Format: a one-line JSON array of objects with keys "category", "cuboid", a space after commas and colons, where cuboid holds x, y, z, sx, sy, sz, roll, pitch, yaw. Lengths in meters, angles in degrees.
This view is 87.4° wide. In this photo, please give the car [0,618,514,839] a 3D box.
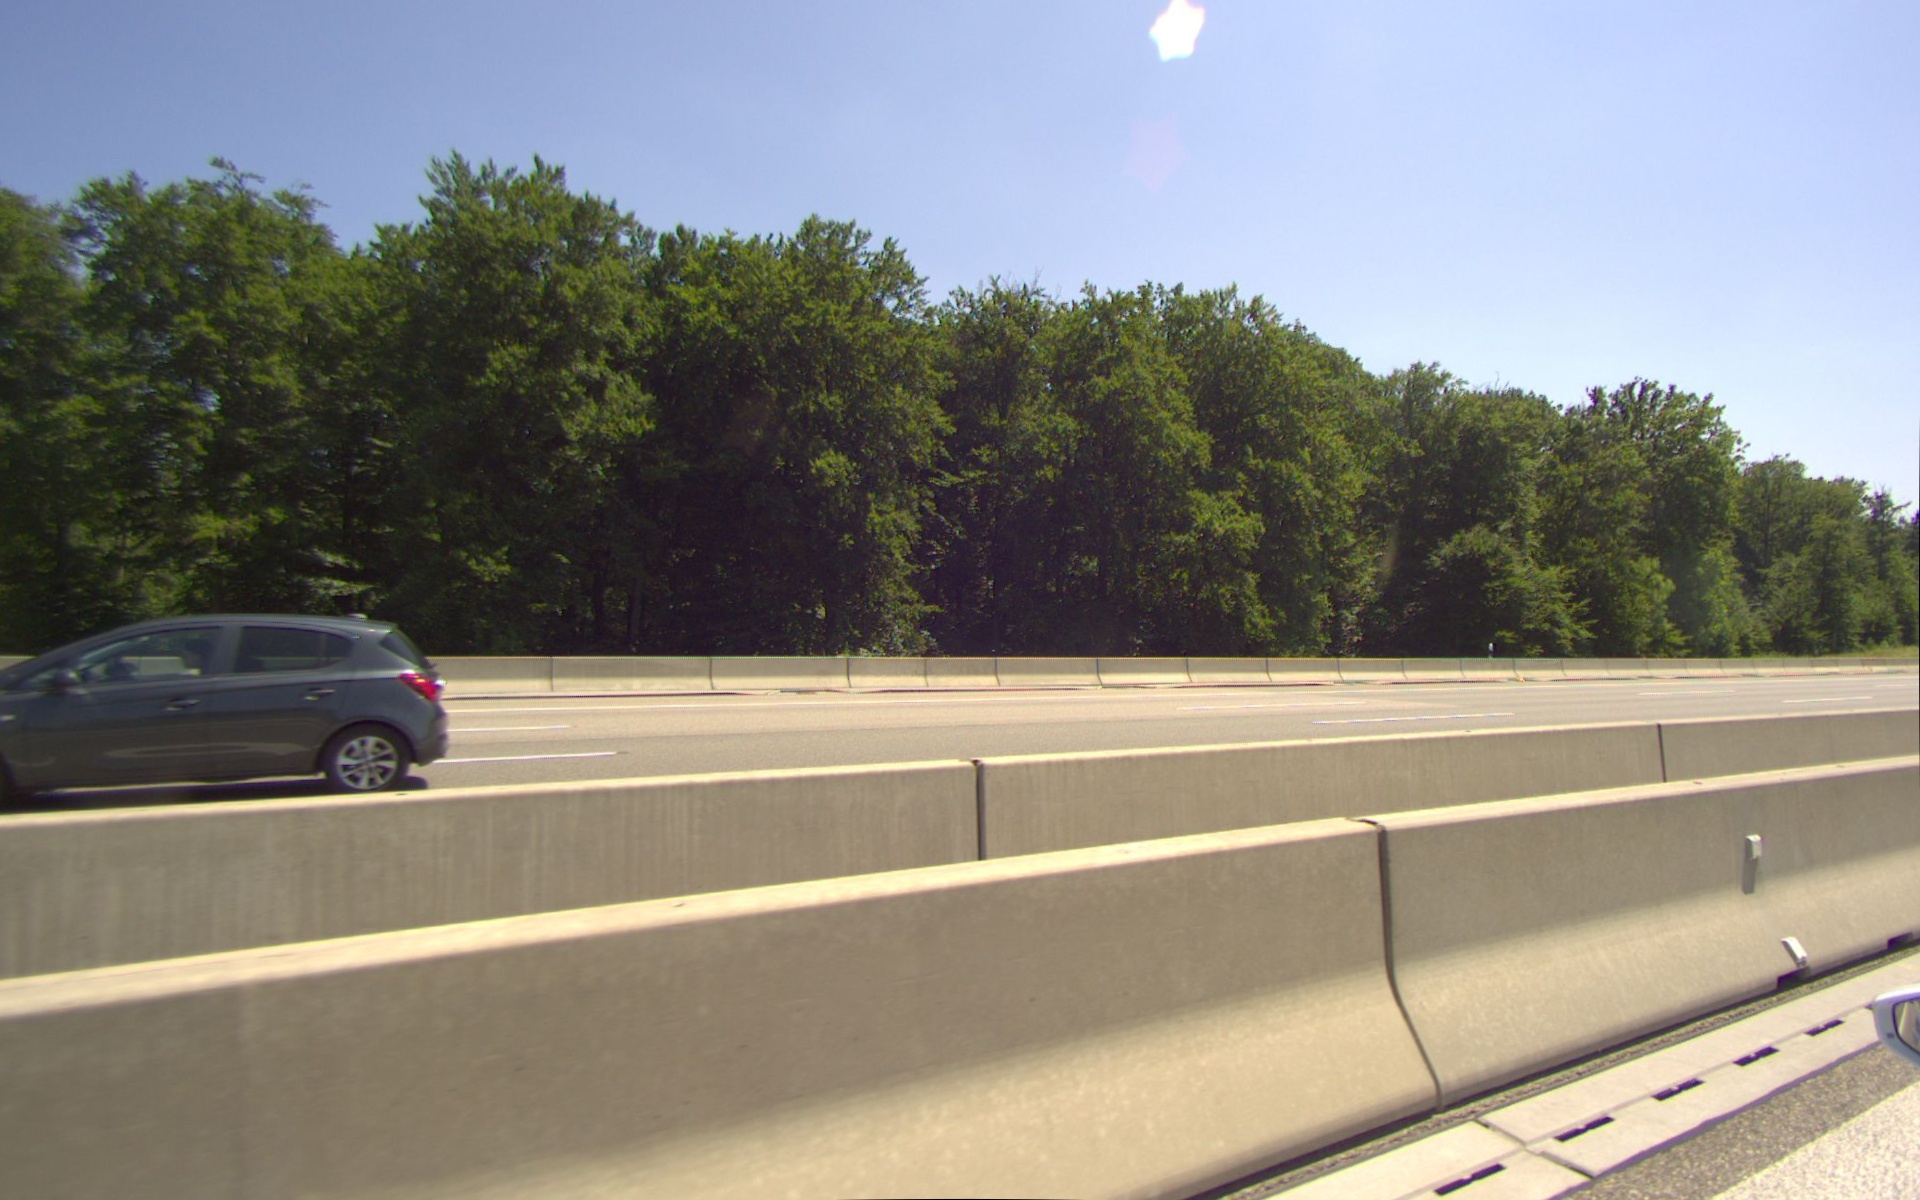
[{"category": "car", "cuboid": [-6.142, 0.931, 8.175, 4.428, 1.498, 1.759, 2, -2, -30]}]
